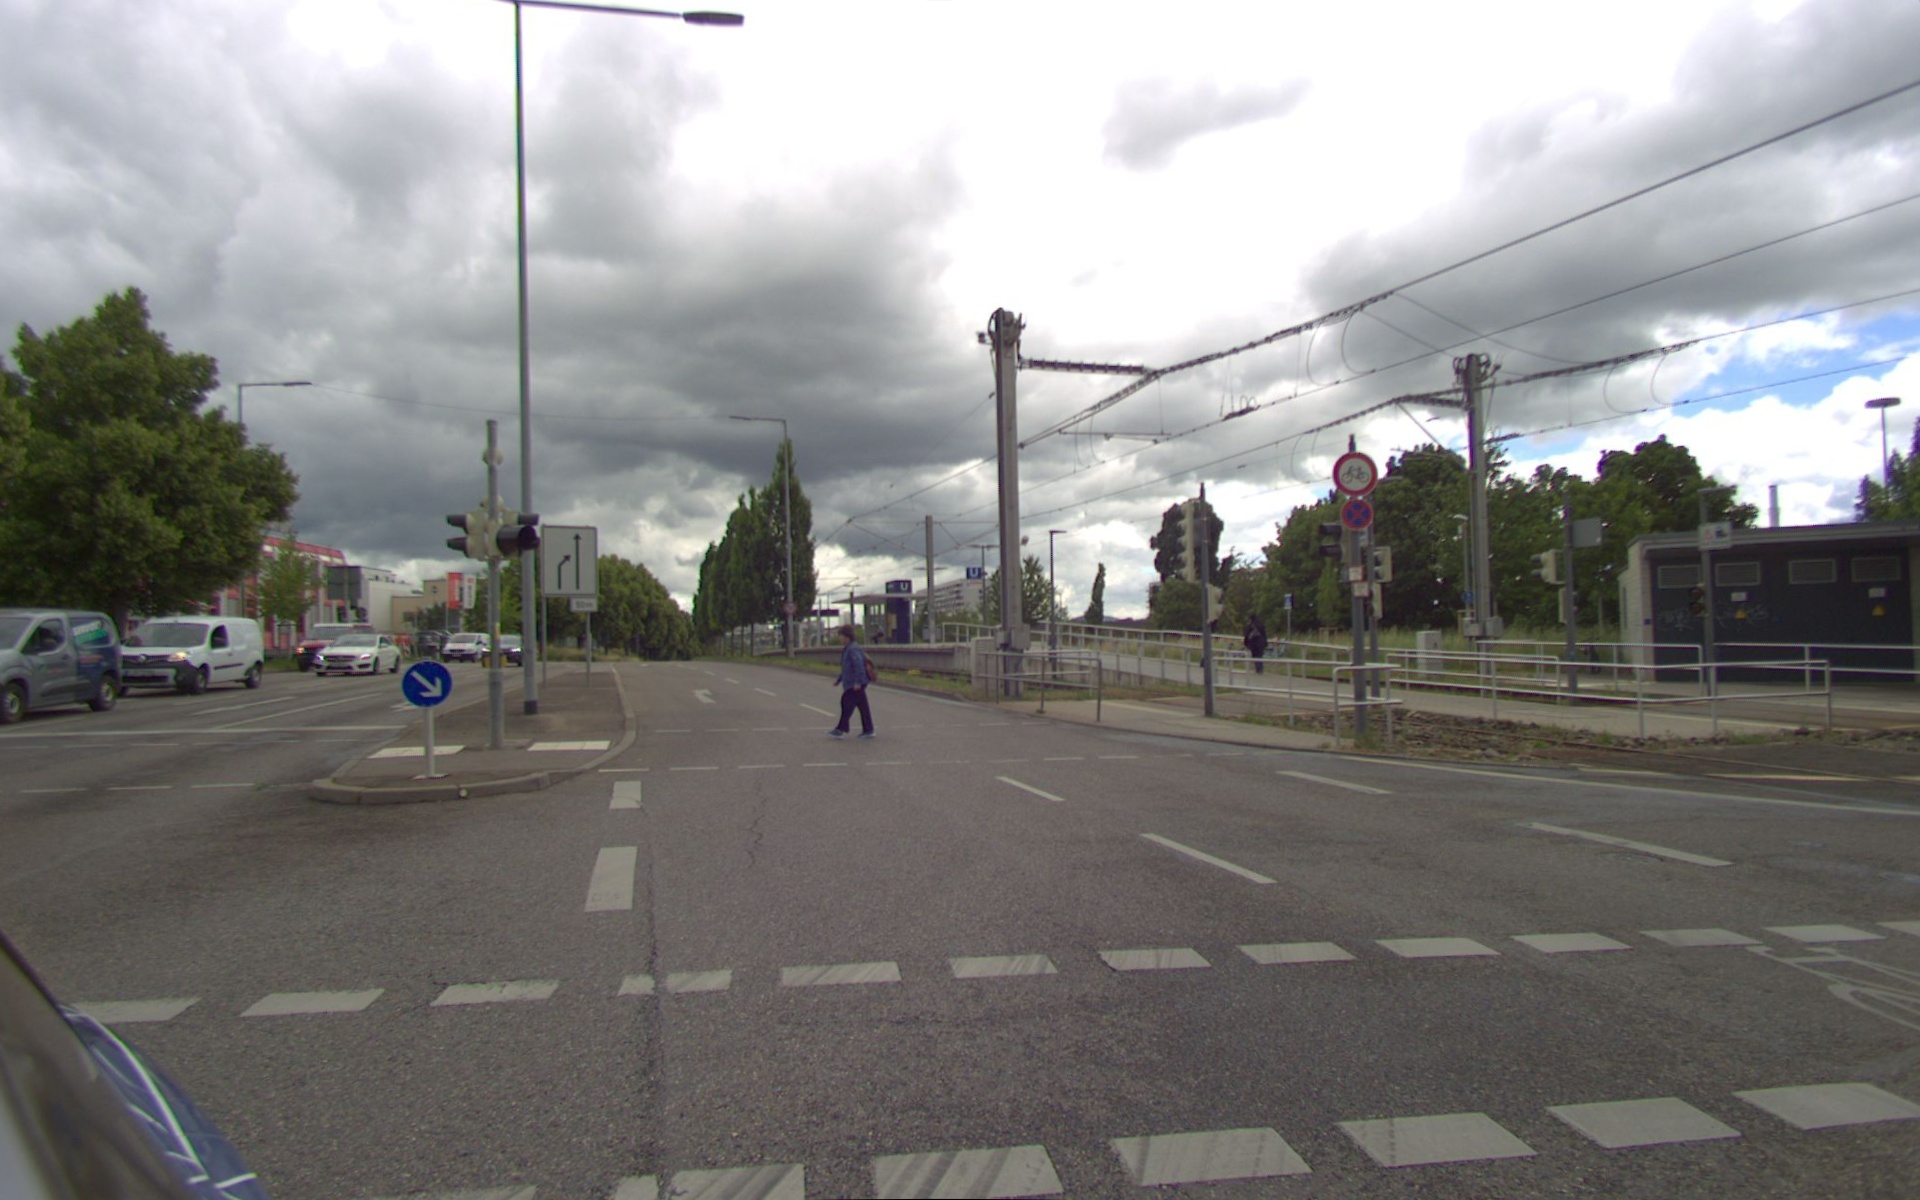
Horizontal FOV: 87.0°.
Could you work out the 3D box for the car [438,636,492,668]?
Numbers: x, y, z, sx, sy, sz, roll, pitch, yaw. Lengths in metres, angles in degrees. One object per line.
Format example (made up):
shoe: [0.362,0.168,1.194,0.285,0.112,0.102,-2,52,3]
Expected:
car: [-31.602,3.282,64.750,1.919,1.920,5.250,0,-2,-13]

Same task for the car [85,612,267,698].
car: [-18.331,1.295,23.962,1.784,1.806,4.710,0,-3,-16]

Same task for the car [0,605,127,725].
car: [-15.648,1.013,16.362,1.784,1.793,4.234,1,-2,-16]

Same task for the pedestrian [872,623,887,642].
pedestrian: [-4.887,1.958,61.146,0.738,1.184,0.840,0,-1,-17]

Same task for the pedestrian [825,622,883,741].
pedestrian: [-1.428,1.068,13.556,0.704,1.542,0.672,0,-2,-11]

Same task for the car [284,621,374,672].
car: [-26.435,1.994,42.583,2.147,1.920,4.466,1,-5,-18]

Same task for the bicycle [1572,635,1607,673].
bicycle: [19.587,1.659,31.533,0.675,1.114,2.236,-1,-2,26]

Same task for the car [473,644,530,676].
car: [-21.723,2.891,48.127,1.784,1.351,4.233,1,-5,-15]

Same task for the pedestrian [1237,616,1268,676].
pedestrian: [7.763,1.211,26.857,0.555,1.584,0.547,0,0,-17]

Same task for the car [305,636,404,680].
car: [-20.945,2.050,35.198,1.784,1.351,4.233,1,-5,-14]
